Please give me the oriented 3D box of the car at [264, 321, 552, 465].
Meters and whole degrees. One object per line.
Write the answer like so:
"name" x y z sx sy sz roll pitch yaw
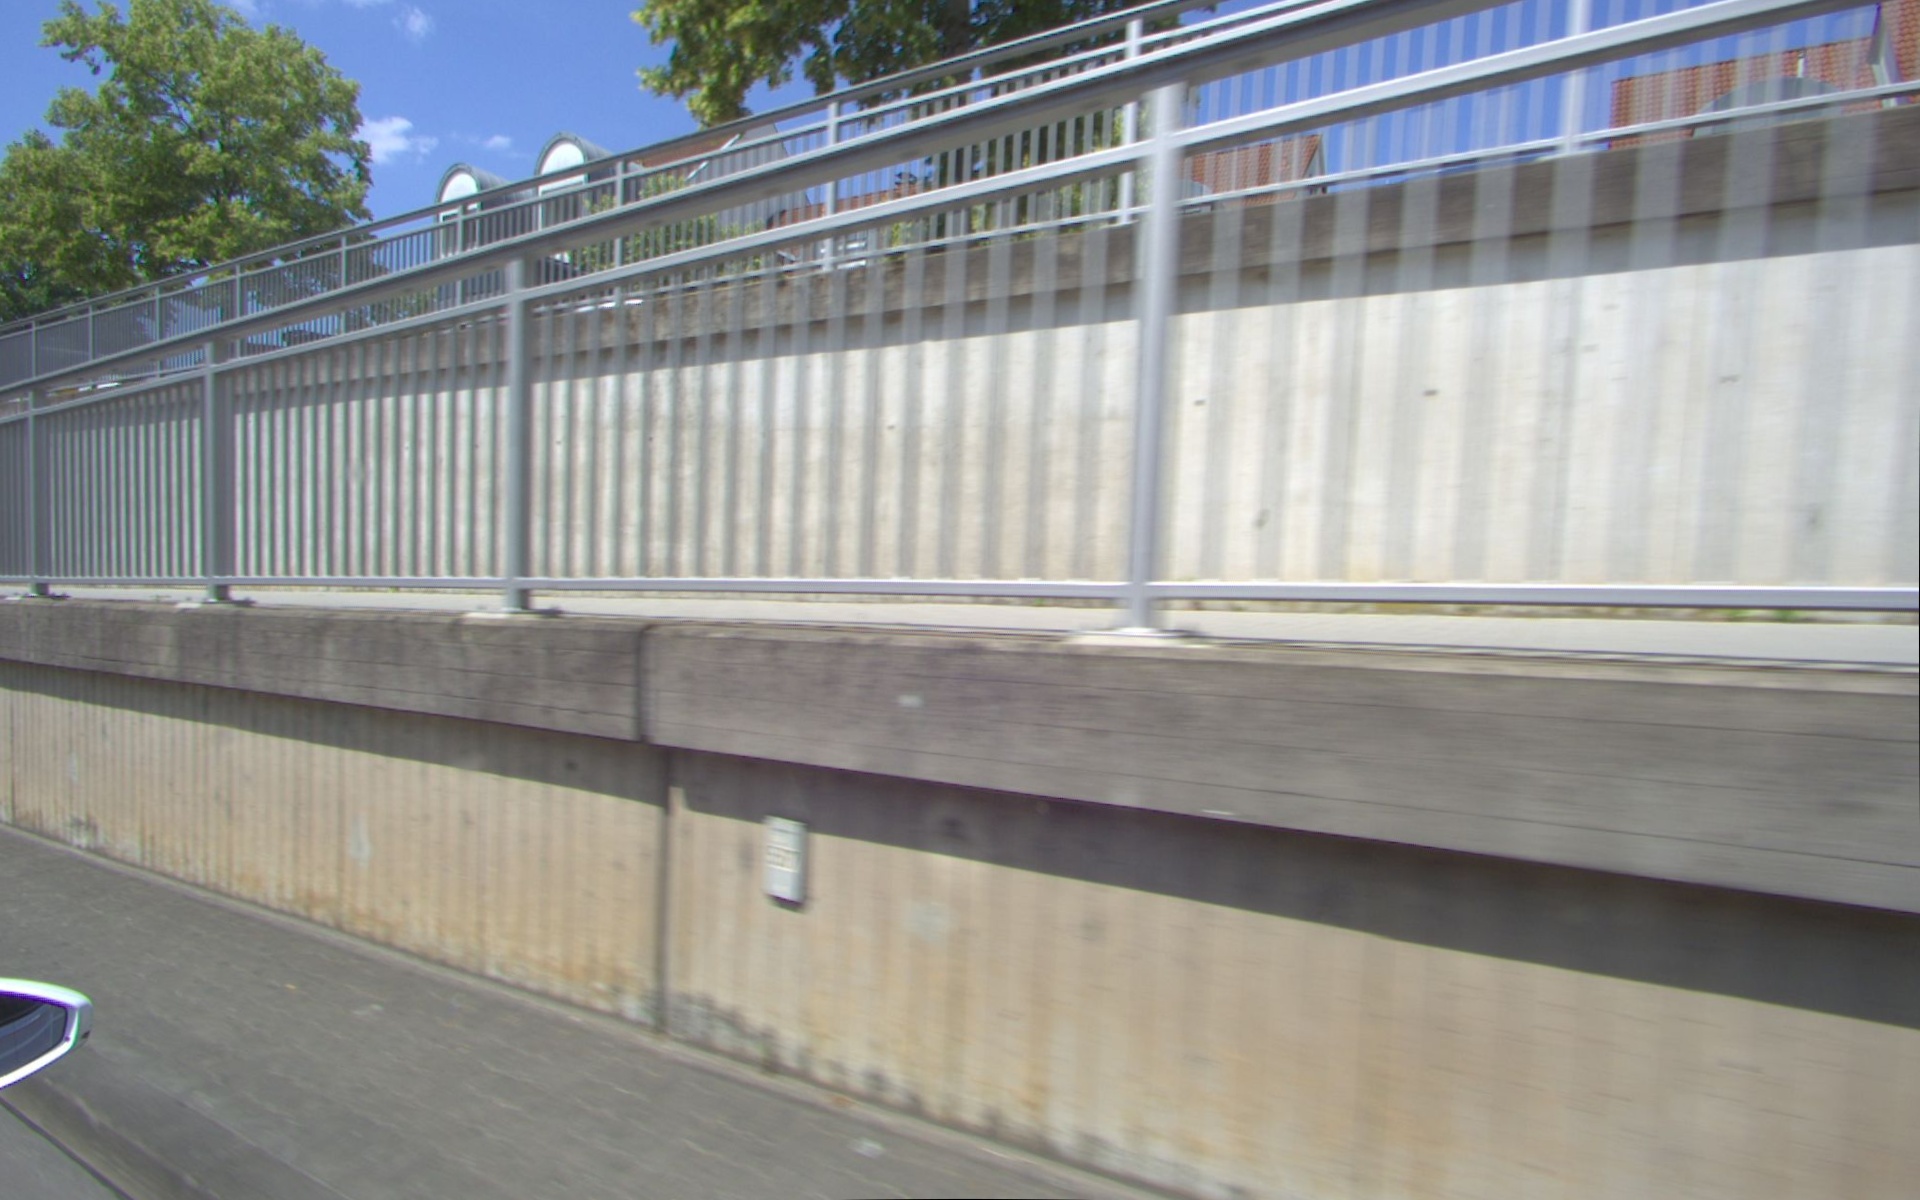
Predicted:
"car" -9.287 -3.389 17.138 1.746 1.505 3.976 0 -1 35

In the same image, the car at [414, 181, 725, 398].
"car" -5.544 -4.316 14.666 1.746 1.793 3.976 0 -1 35

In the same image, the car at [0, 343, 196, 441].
"car" -21.374 -5.010 24.459 1.746 1.505 3.976 0 -1 35

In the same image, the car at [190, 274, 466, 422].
"car" -11.517 -4.491 18.489 1.746 1.588 3.976 0 -1 35

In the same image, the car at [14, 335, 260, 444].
"car" -18.361 -4.616 22.512 1.746 1.505 3.976 0 -1 35

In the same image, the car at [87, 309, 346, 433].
"car" -15.195 -4.595 20.655 1.746 1.505 3.976 0 -1 35
